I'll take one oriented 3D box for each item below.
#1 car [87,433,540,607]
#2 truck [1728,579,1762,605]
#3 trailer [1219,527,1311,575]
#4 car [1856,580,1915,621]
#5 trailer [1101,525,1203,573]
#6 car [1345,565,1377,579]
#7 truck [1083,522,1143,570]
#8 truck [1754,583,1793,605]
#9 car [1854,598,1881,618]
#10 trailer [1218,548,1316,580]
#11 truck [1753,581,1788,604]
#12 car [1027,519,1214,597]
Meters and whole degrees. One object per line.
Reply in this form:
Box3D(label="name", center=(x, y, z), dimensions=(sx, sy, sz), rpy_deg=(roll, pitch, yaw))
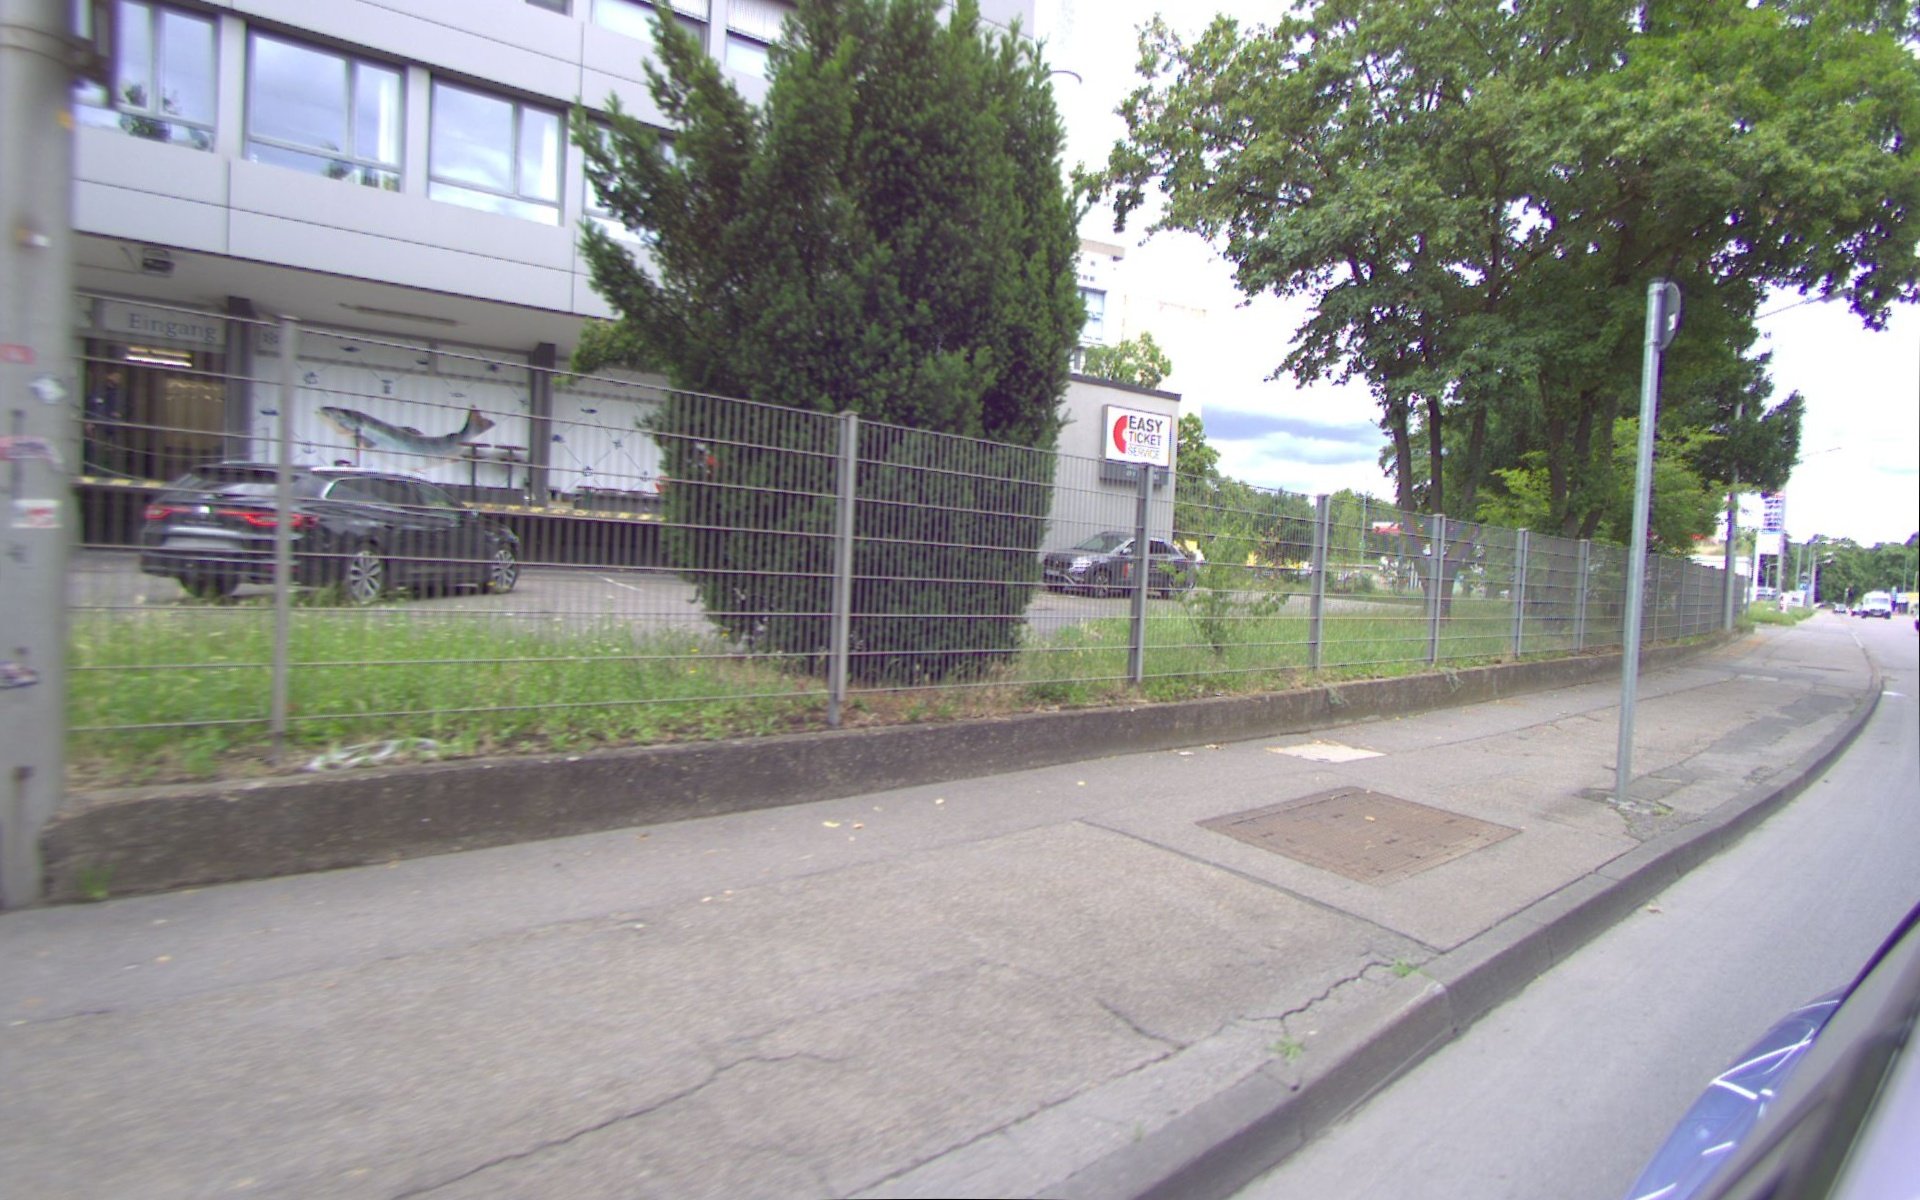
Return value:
Box3D(label="car", center=(-6.918, -0.881, 11.608), dimensions=(1.964, 1.491, 4.691), rpy_deg=(3, 4, 4))
Box3D(label="truck", center=(129.932, -1.343, 167.676), dimensions=(2.847, 4.062, 6.696), rpy_deg=(5, 3, 26))
Box3D(label="trailer", center=(29.642, -4.639, 97.807), dimensions=(2.997, 3.962, 14.094), rpy_deg=(5, 3, 40))
Box3D(label="car", center=(89.239, 0.047, 97.722), dimensions=(3.325, 3.651, 8.551), rpy_deg=(5, 3, 38))
Box3D(label="trailer", center=(20.311, -5.240, 105.748), dimensions=(3.018, 4.312, 15.496), rpy_deg=(5, 3, 40))
Box3D(label="car", center=(46.769, -3.261, 117.989), dimensions=(1.982, 1.385, 4.615), rpy_deg=(5, 3, 40))
Box3D(label="truck", center=(15.085, -5.257, 99.505), dimensions=(3.042, 4.314, 5.953), rpy_deg=(5, 3, 40))
Box3D(label="truck", center=(145.834, -1.173, 181.559), dimensions=(2.799, 3.756, 9.033), rpy_deg=(4, 2, 23))
Box3D(label="car", center=(99.792, 0.912, 111.315), dimensions=(1.704, 2.038, 3.839), rpy_deg=(5, 3, 36))
Box3D(label="trailer", center=(46.957, -5.666, 156.089), dimensions=(3.566, 4.223, 18.549), rpy_deg=(2, 2, -21))
Box3D(label="truck", center=(135.082, -1.286, 168.677), dimensions=(2.847, 3.673, 6.696), rpy_deg=(5, 3, 26))
Box3D(label="car", center=(4.060, -1.037, 25.371), dimensions=(4.357, 1.585, 2.002), rpy_deg=(2, 5, -35))
